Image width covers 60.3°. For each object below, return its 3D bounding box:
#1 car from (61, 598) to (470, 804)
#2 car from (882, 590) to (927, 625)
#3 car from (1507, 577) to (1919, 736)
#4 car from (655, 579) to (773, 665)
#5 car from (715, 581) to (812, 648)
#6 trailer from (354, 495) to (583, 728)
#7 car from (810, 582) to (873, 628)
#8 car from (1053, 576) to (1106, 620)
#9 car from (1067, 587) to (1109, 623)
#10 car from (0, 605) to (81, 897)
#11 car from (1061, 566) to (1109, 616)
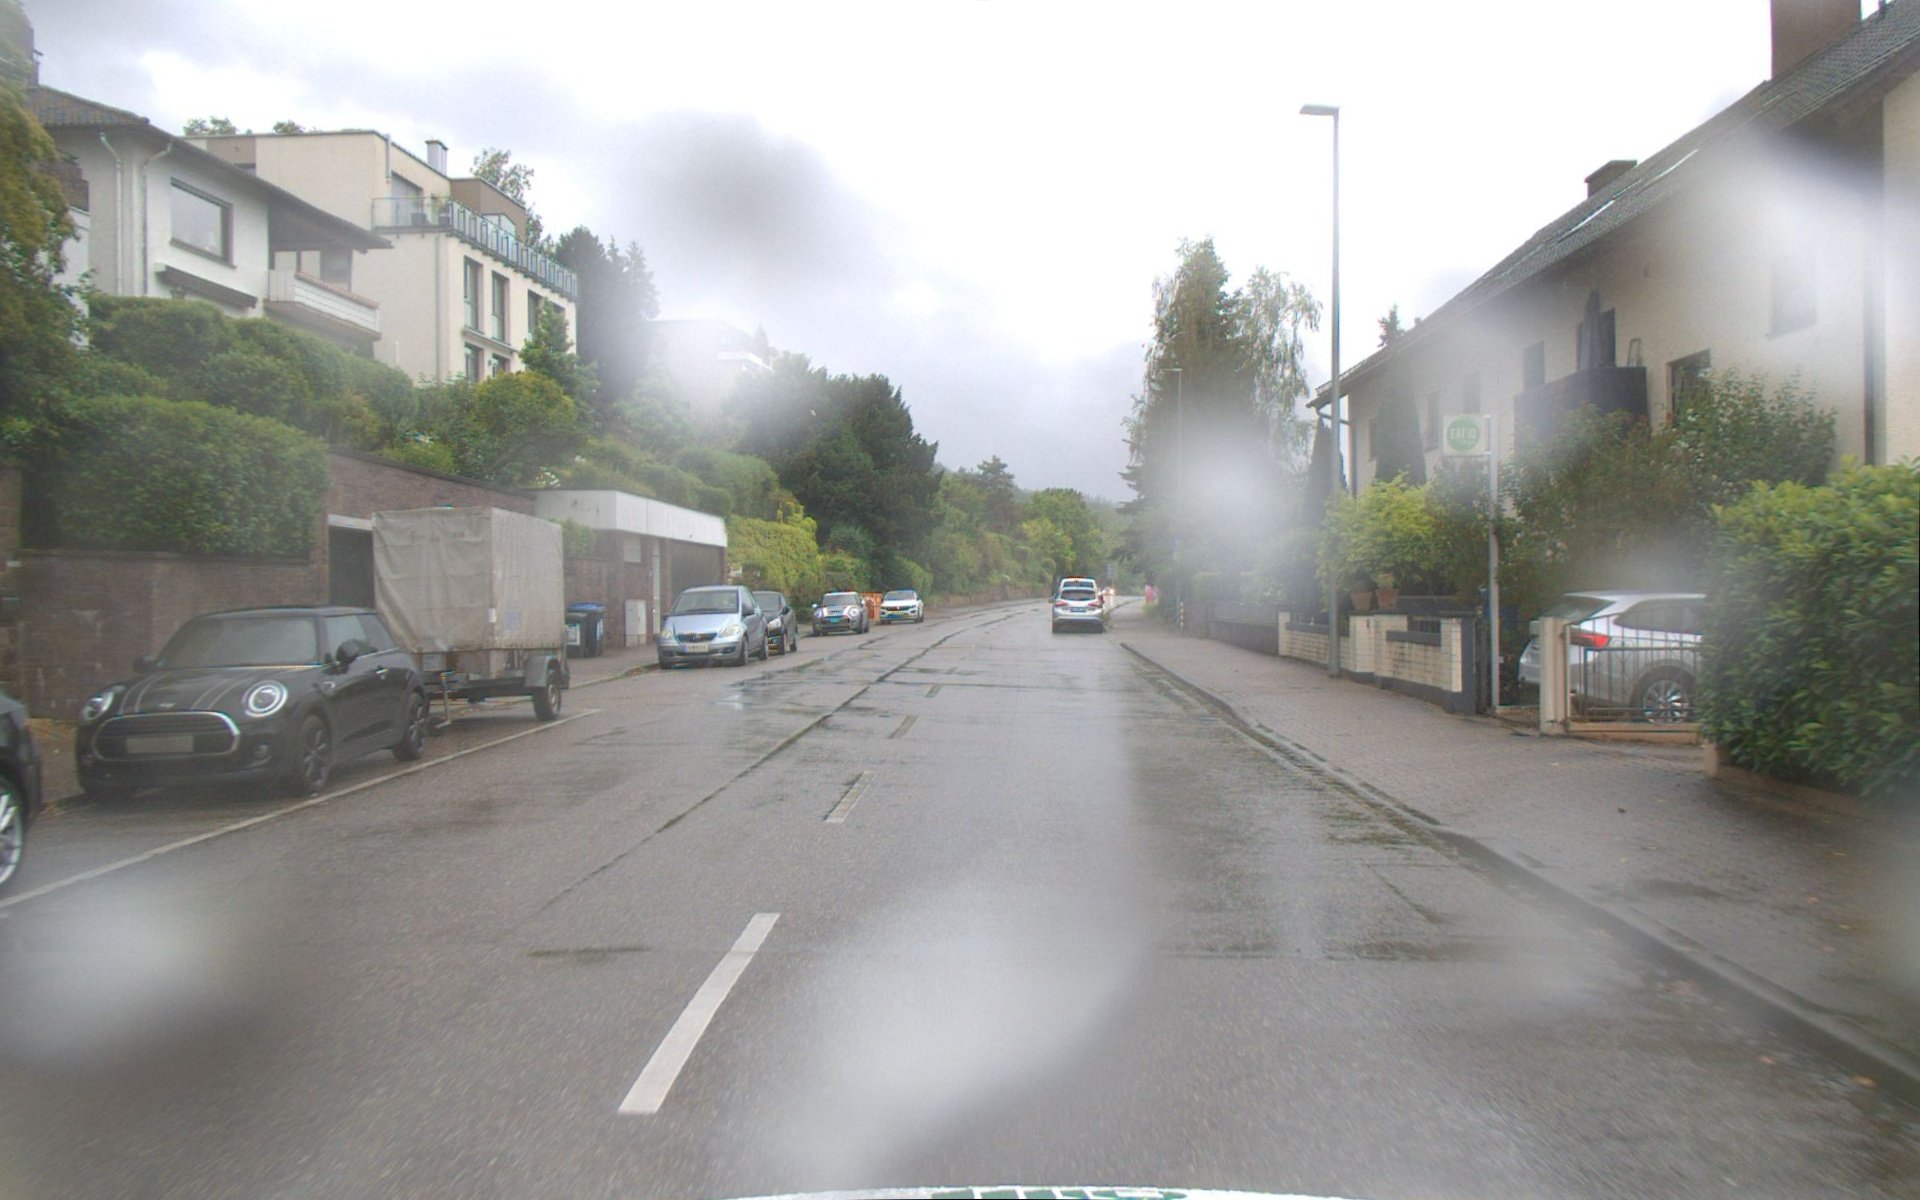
[{"bbox_3d":[-5.536,0.720,13.745,1.771,1.373,3.776,-2,1,0],"label":"car"},{"bbox_3d":[-2.507,0.353,75.908,1.719,1.524,4.221,-2,0,2],"label":"car"},{"bbox_3d":[8.096,0.558,17.313,4.135,1.471,1.702,2,1,-1],"label":"car"},{"bbox_3d":[-4.994,0.404,34.060,1.720,1.566,3.757,-3,1,1],"label":"car"},{"bbox_3d":[-4.646,0.306,39.478,1.720,1.433,3.705,-3,1,1],"label":"car"},{"bbox_3d":[-5.654,0.112,19.380,1.504,2.441,3.074,-2,0,3],"label":"trailer"},{"bbox_3d":[-4.040,0.148,56.783,1.719,1.427,3.771,-3,0,2],"label":"car"},{"bbox_3d":[4.162,-0.069,57.227,1.751,1.485,4.311,0,0,5],"label":"car"},{"bbox_3d":[5.355,0.200,68.869,1.673,1.428,4.206,0,0,5],"label":"car"},{"bbox_3d":[-5.675,0.805,6.879,1.749,1.440,4.217,-2,1,0],"label":"car"},{"bbox_3d":[4.756,-0.345,62.700,1.747,1.822,4.363,0,0,5],"label":"car"}]
